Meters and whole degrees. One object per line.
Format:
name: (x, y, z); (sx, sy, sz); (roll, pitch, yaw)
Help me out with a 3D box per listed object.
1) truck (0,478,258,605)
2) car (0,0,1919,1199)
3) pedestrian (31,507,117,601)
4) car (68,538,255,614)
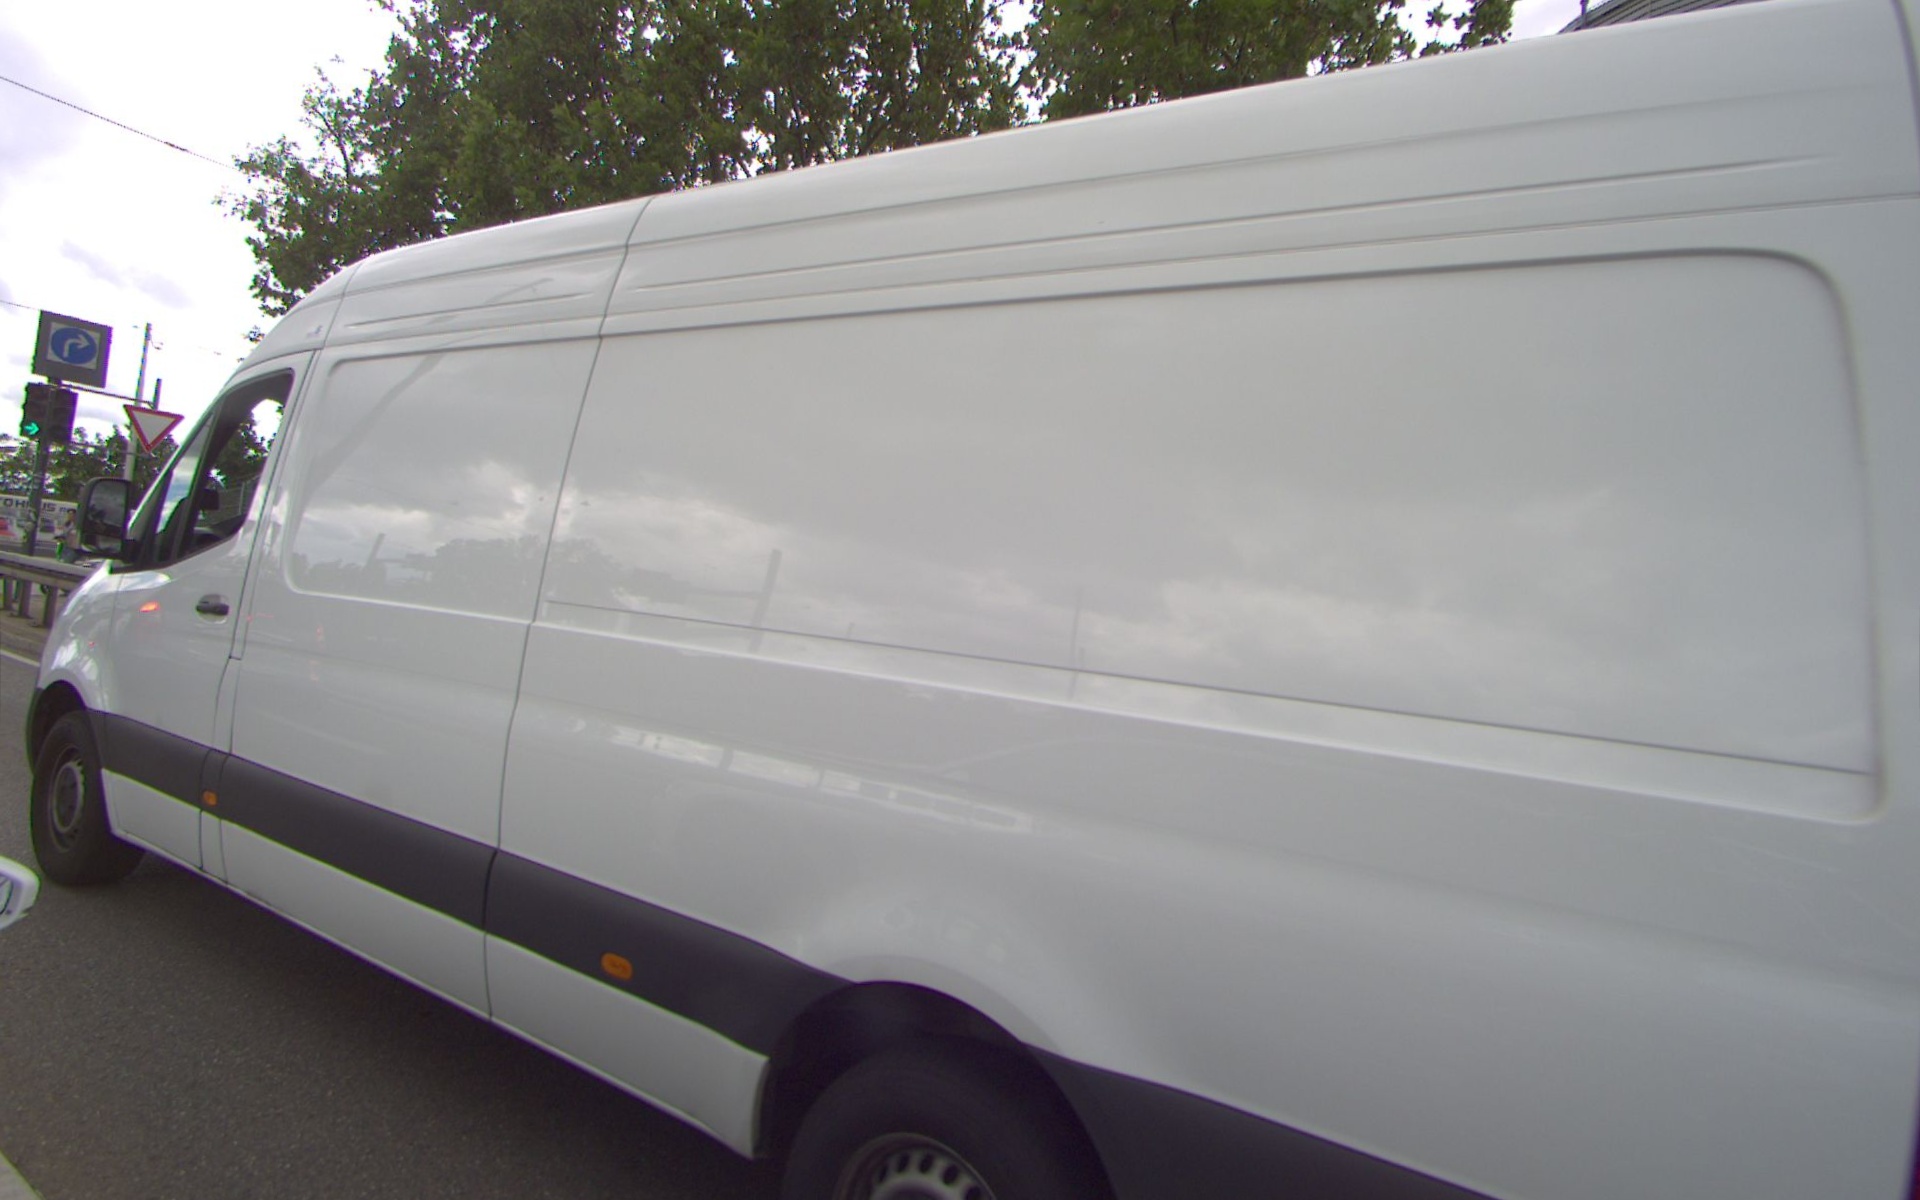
truck: (-32.838, -2.299, 37.597); (10.122, 3.559, 2.782); (9, -1, -25)
car: (-1.101, 0.080, 3.610); (6.666, 2.816, 2.115); (7, -1, 31)
pedestrian: (-17.163, -0.894, 19.495); (0.963, 1.697, 0.834); (4, -2, 29)
car: (-24.125, -0.695, 30.526); (1.784, 1.684, 3.992); (7, -2, 34)
